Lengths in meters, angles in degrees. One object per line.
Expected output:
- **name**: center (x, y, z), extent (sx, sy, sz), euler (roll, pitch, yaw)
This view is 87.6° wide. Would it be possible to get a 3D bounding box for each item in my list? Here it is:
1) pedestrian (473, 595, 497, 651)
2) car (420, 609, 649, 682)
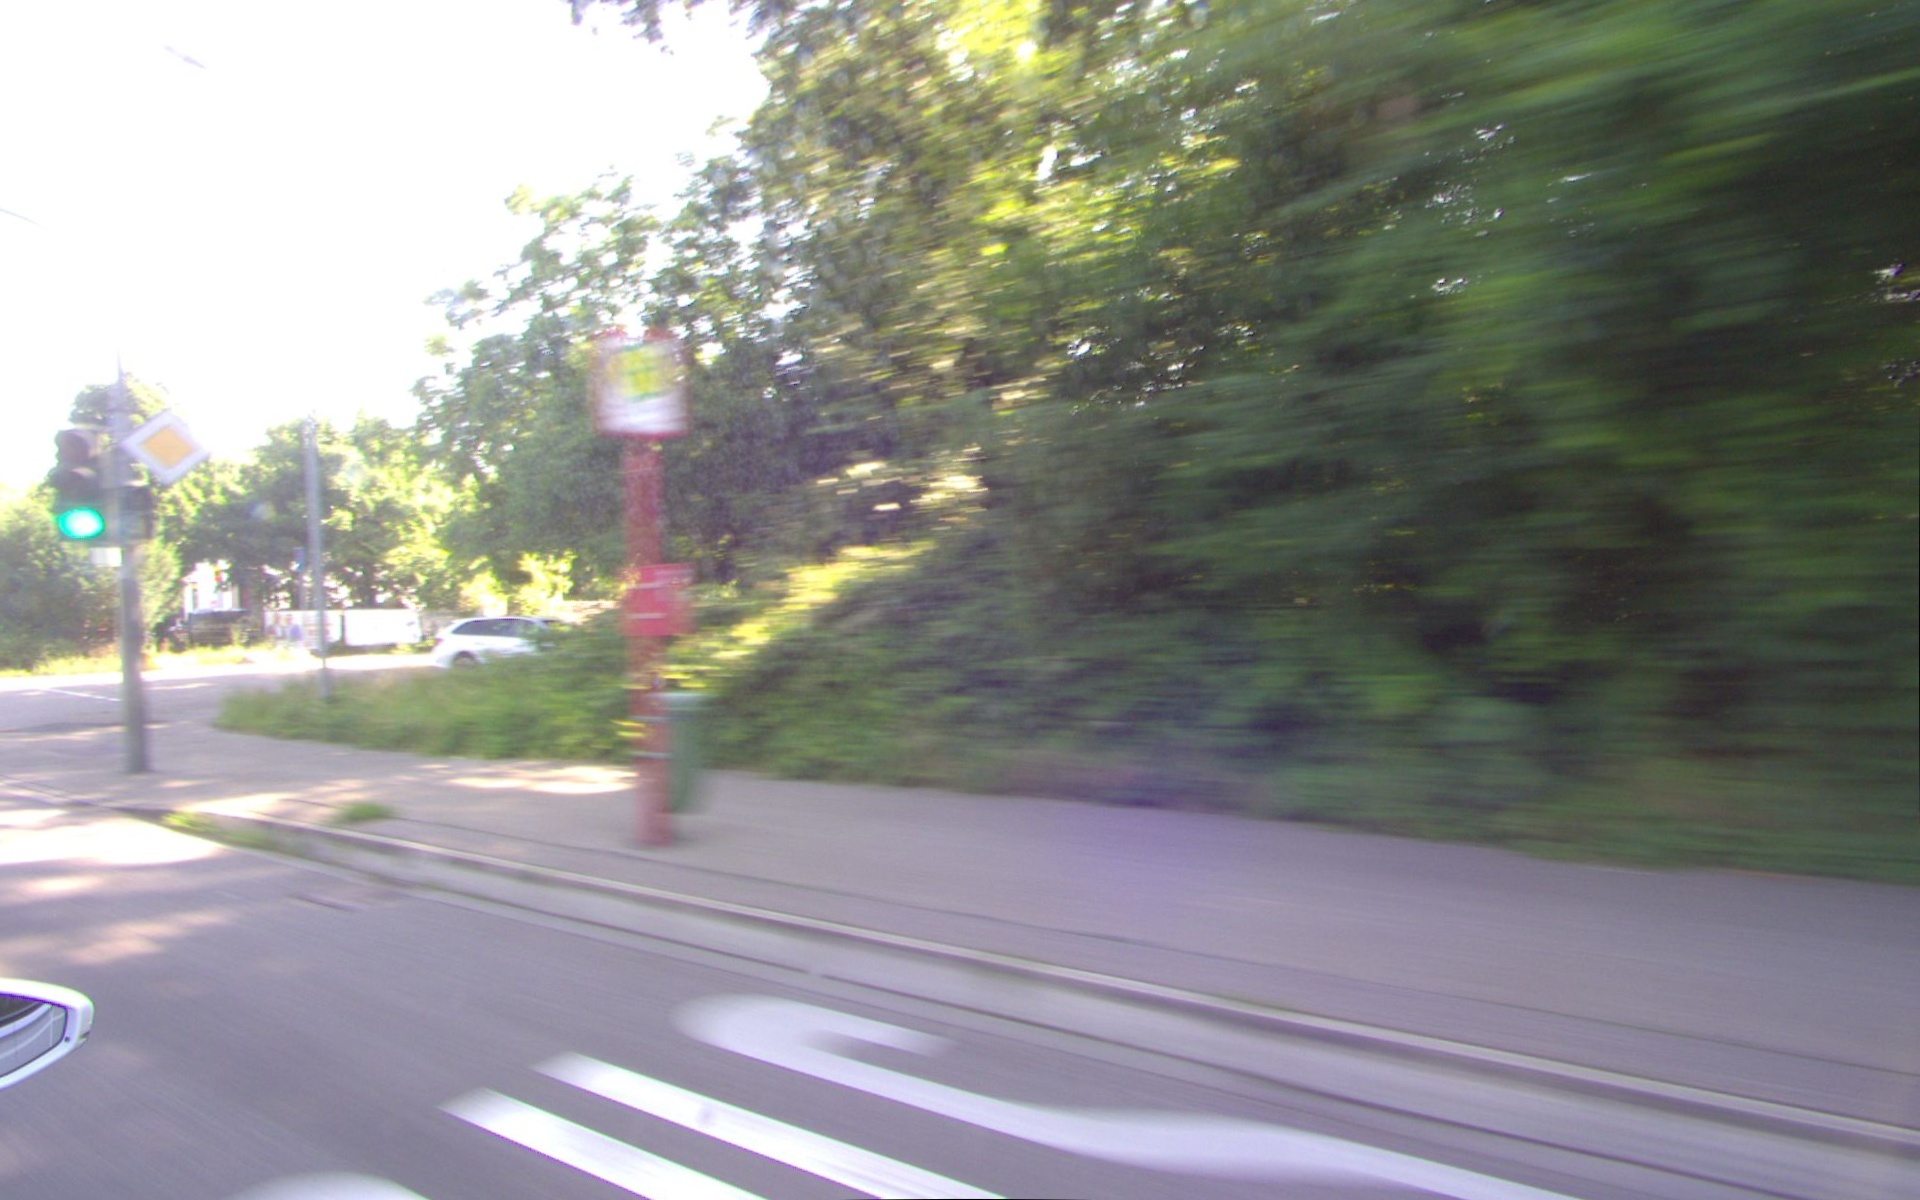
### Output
- **pedestrian**: center (-14.359, 0.683, 30.257), extent (0.600, 1.651, 0.413), euler (-2, 2, -26)
- **car**: center (-9.410, 0.999, 22.242), extent (4.528, 1.484, 1.627), euler (-1, 1, 12)
